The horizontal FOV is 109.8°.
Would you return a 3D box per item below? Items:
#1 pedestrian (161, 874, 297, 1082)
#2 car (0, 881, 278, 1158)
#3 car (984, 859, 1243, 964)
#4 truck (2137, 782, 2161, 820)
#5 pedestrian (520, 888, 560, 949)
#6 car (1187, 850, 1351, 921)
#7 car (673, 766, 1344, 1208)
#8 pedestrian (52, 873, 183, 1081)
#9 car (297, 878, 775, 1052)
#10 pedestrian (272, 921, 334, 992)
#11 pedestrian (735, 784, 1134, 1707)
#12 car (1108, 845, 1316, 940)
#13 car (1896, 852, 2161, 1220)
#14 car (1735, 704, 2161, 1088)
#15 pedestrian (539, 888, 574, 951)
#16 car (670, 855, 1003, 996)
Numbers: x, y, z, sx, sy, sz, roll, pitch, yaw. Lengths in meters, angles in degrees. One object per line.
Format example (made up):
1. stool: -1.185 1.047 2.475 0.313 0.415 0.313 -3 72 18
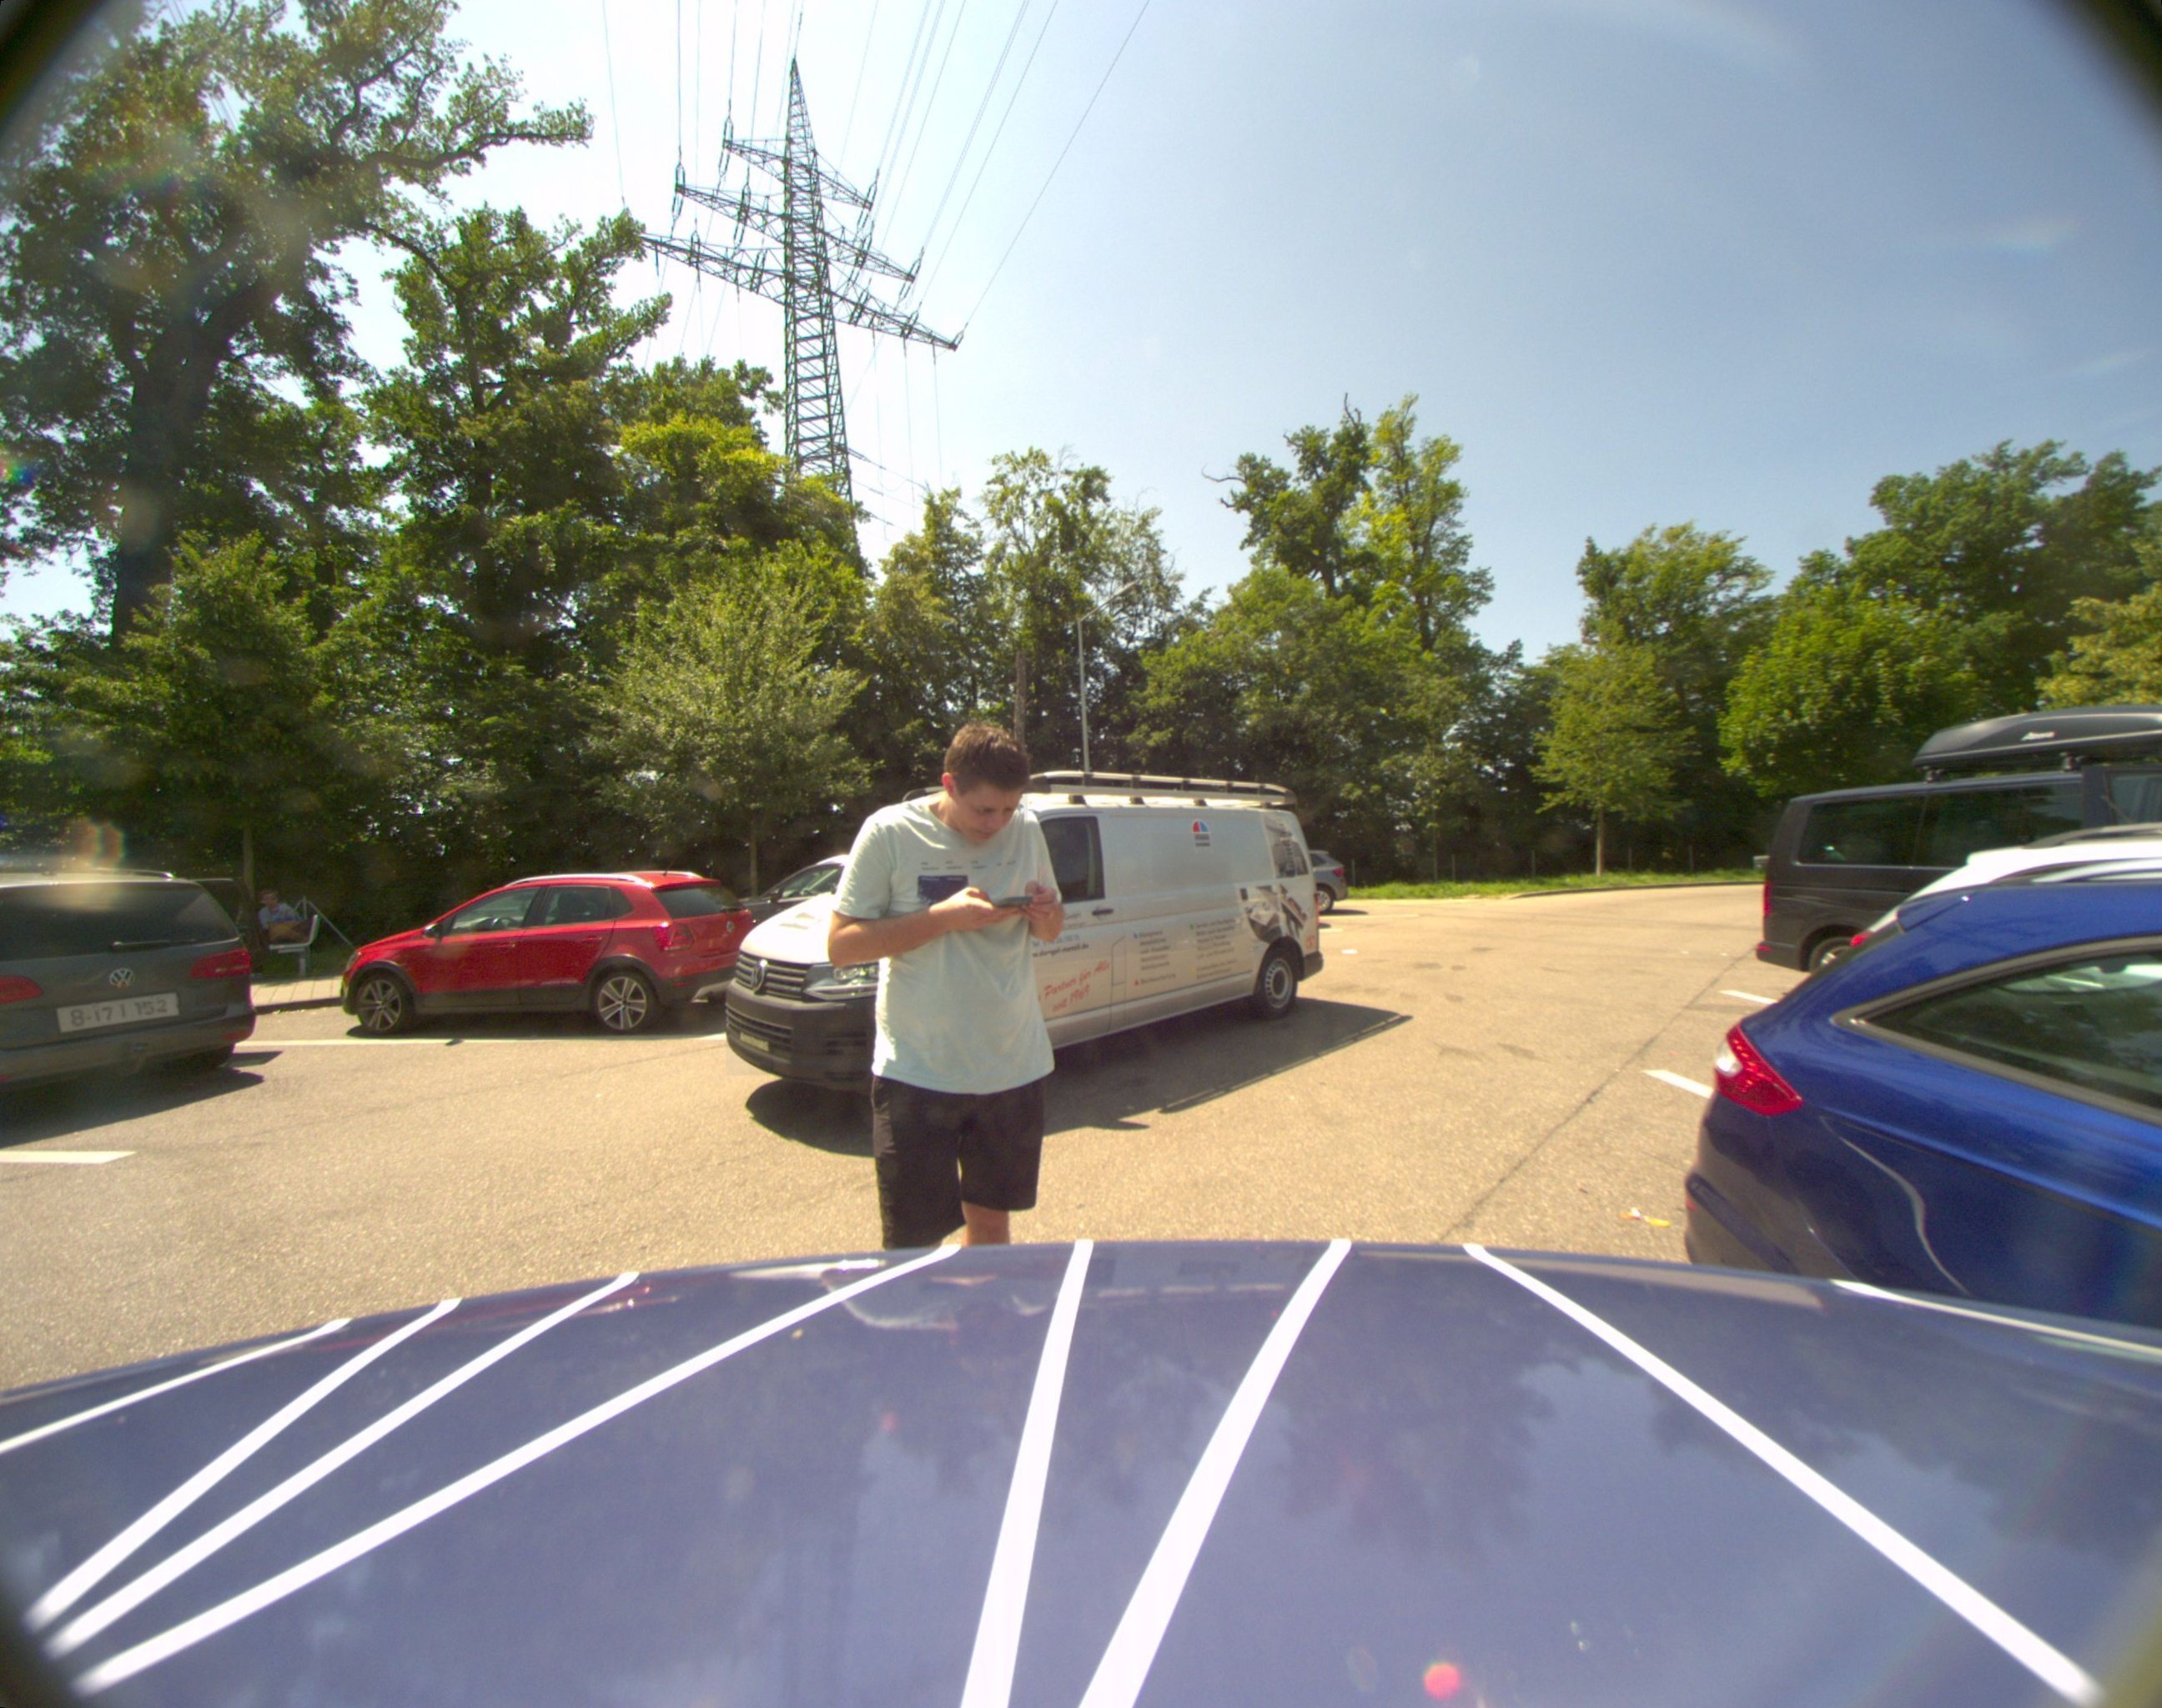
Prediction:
1. pedestrian: -7.466 1.050 6.676 0.481 1.712 0.589 -2 1 22
2. car: -8.353 1.094 5.423 3.903 1.607 1.705 -2 1 11
3. car: 0.531 0.864 12.165 3.773 1.445 1.848 -2 0 4
4. truck: 40.285 -1.985 27.053 1.168 1.367 2.882 -2 -1 -19
5. pedestrian: -10.911 1.291 15.338 0.413 1.186 0.443 -2 1 12
6. car: 4.363 0.730 18.110 3.585 1.493 1.707 -2 1 8
7. car: -0.023 0.596 6.165 5.445 2.092 1.839 -2 1 -45
8. pedestrian: -8.376 1.037 6.617 0.436 1.712 0.511 -2 1 17
9. car: -5.297 1.049 7.642 3.745 1.458 1.621 -2 0 7
10. pedestrian: -10.763 1.403 10.526 0.503 0.874 0.512 -3 1 -39
11. pedestrian: -0.380 0.774 1.907 0.741 1.818 0.613 -2 0 -34
12. car: 2.530 0.731 15.286 3.850 1.678 1.755 -2 0 4
13. car: 4.720 0.677 2.212 1.344 1.352 3.114 -2 0 1
14. car: 7.300 0.236 5.231 1.788 2.304 4.084 -2 0 -5
15. pedestrian: -10.145 1.268 14.698 0.366 1.186 0.356 -2 1 21
16. car: -3.106 0.898 10.234 3.866 1.607 1.709 -2 0 0
